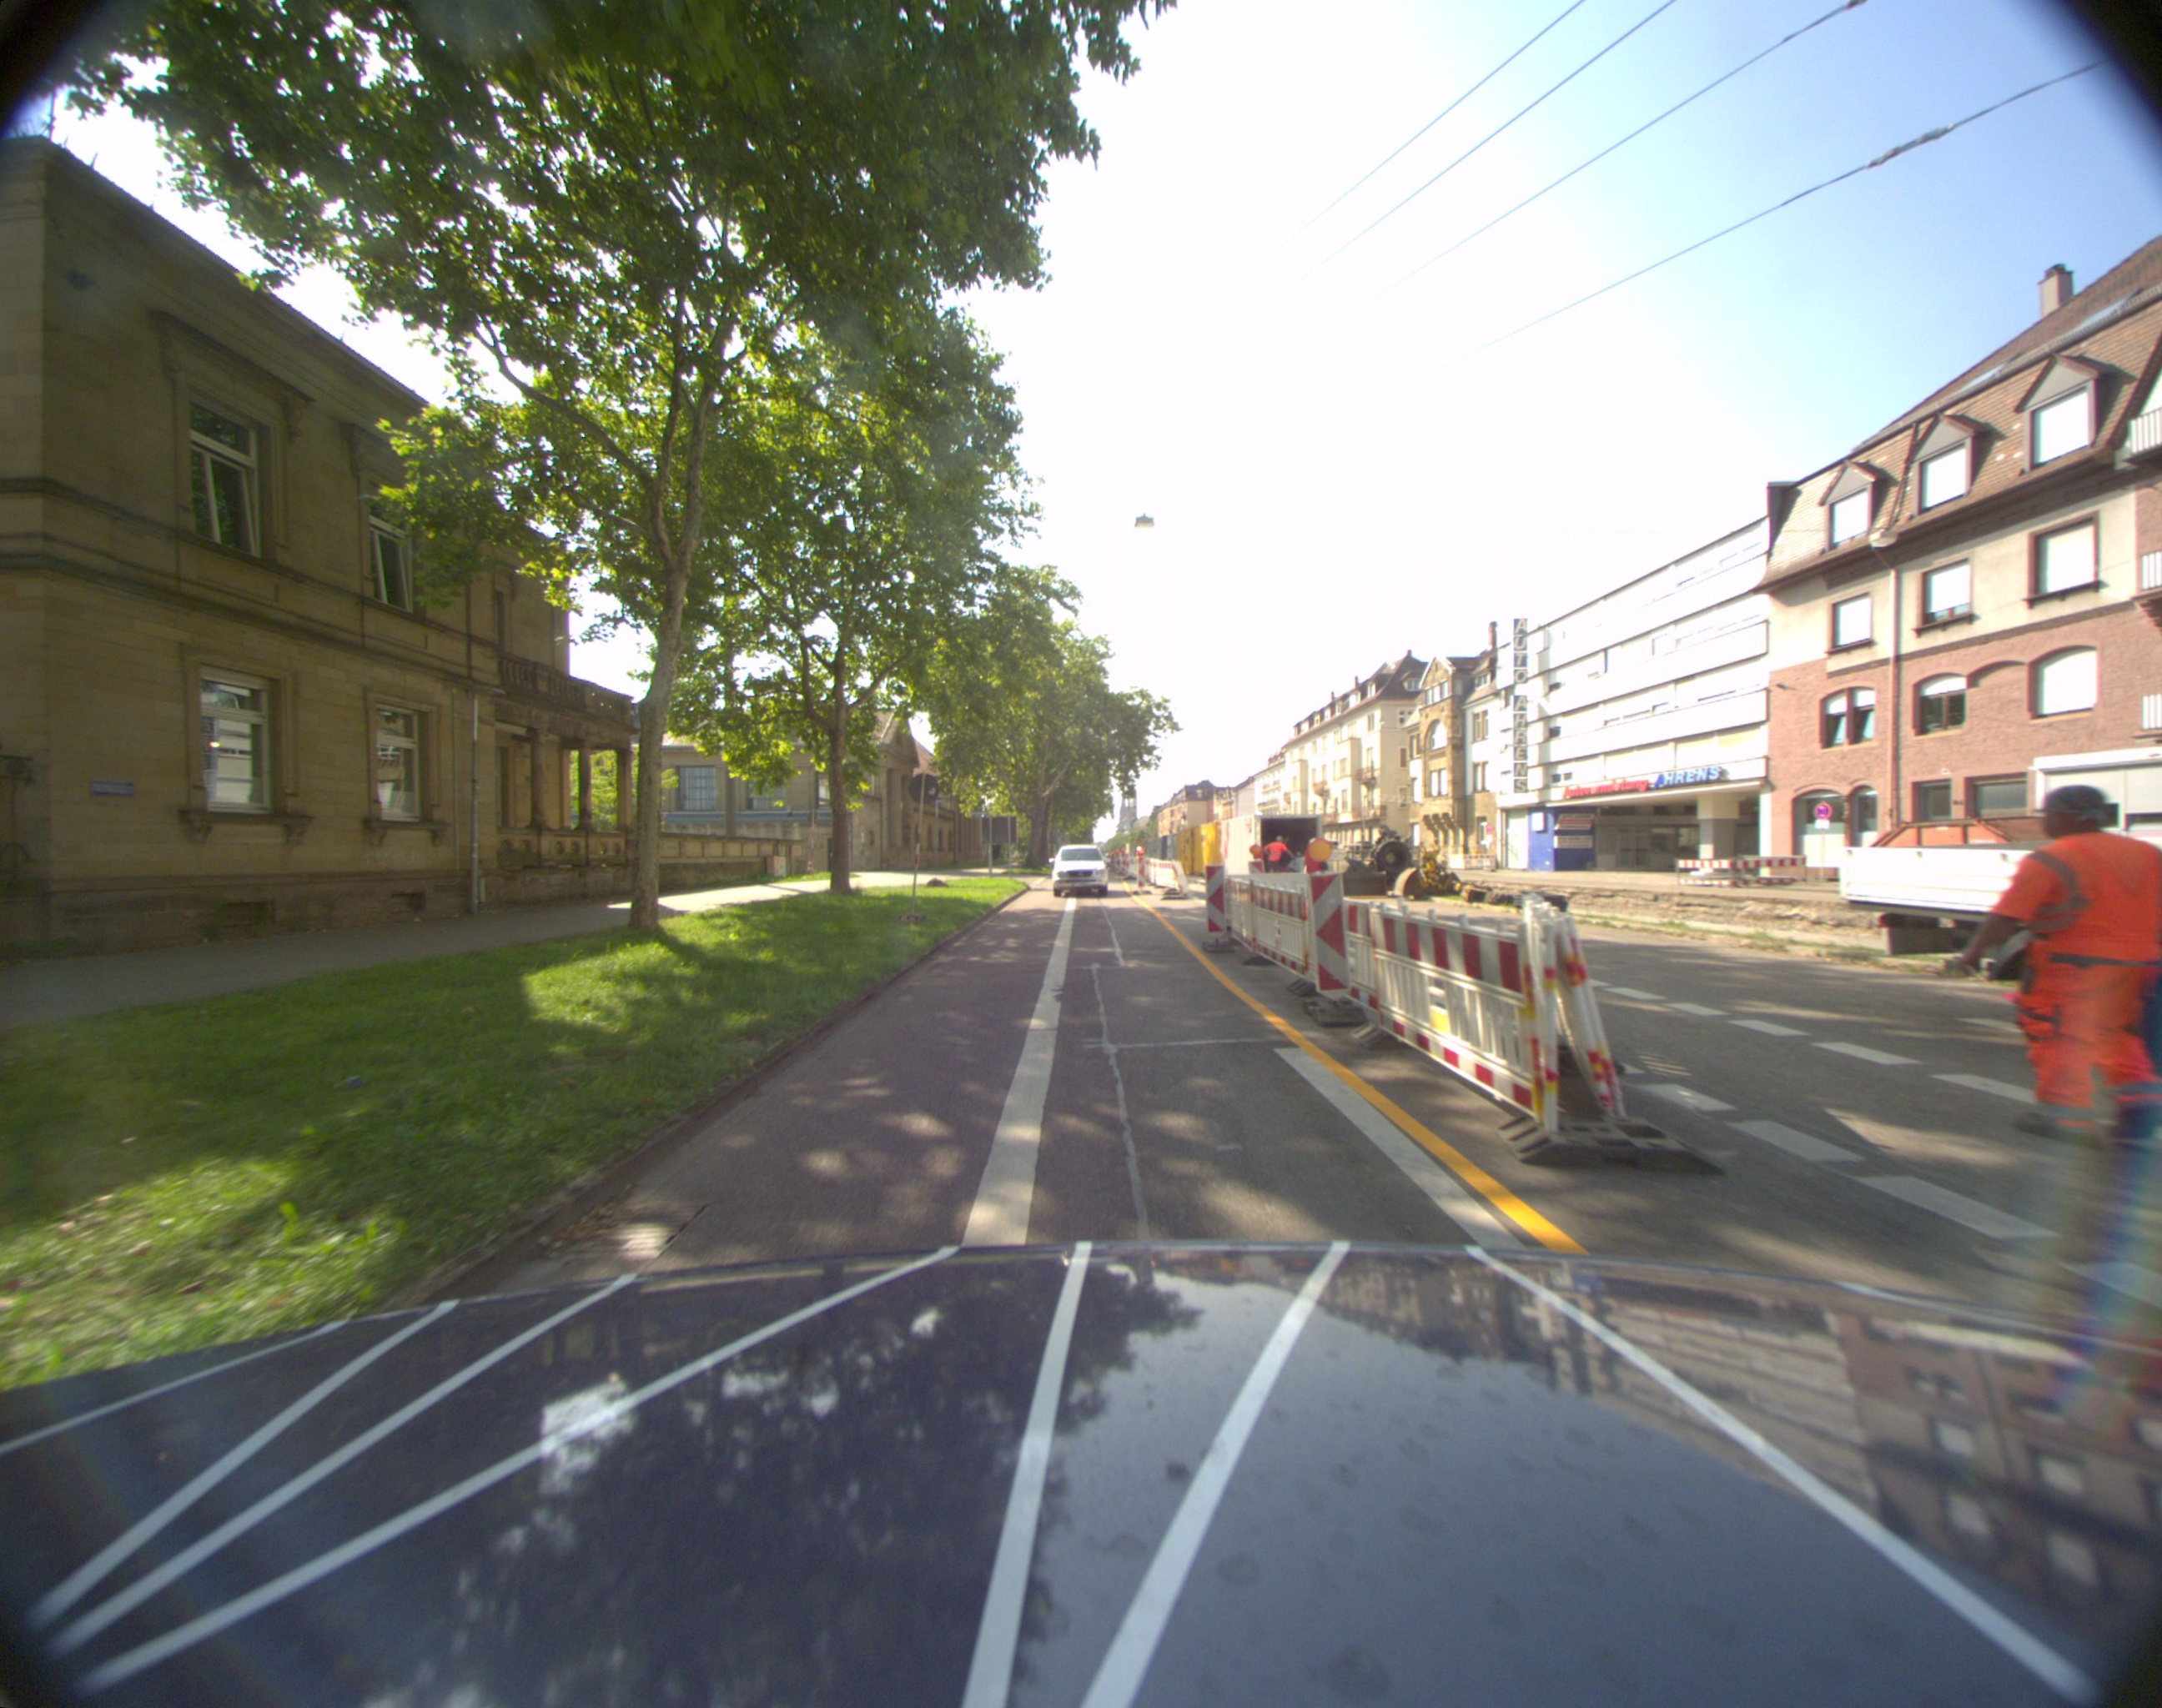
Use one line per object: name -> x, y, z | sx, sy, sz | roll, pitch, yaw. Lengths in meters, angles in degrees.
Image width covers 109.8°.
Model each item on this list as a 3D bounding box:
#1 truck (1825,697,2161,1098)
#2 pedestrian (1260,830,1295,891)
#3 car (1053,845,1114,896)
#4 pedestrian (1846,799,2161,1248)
truck -> 6.983, 0.253, 2.583 | 2.163, 2.209, 7.050 | 0, 1, 2
pedestrian -> 6.621, 0.213, 25.523 | 0.909, 2.002, 0.913 | -2, 2, 26
car -> 0.089, 0.511, 27.620 | 1.998, 1.686, 5.225 | 0, 1, 0
pedestrian -> 4.530, 0.636, 3.424 | 1.034, 1.700, 1.095 | 0, 1, -1
